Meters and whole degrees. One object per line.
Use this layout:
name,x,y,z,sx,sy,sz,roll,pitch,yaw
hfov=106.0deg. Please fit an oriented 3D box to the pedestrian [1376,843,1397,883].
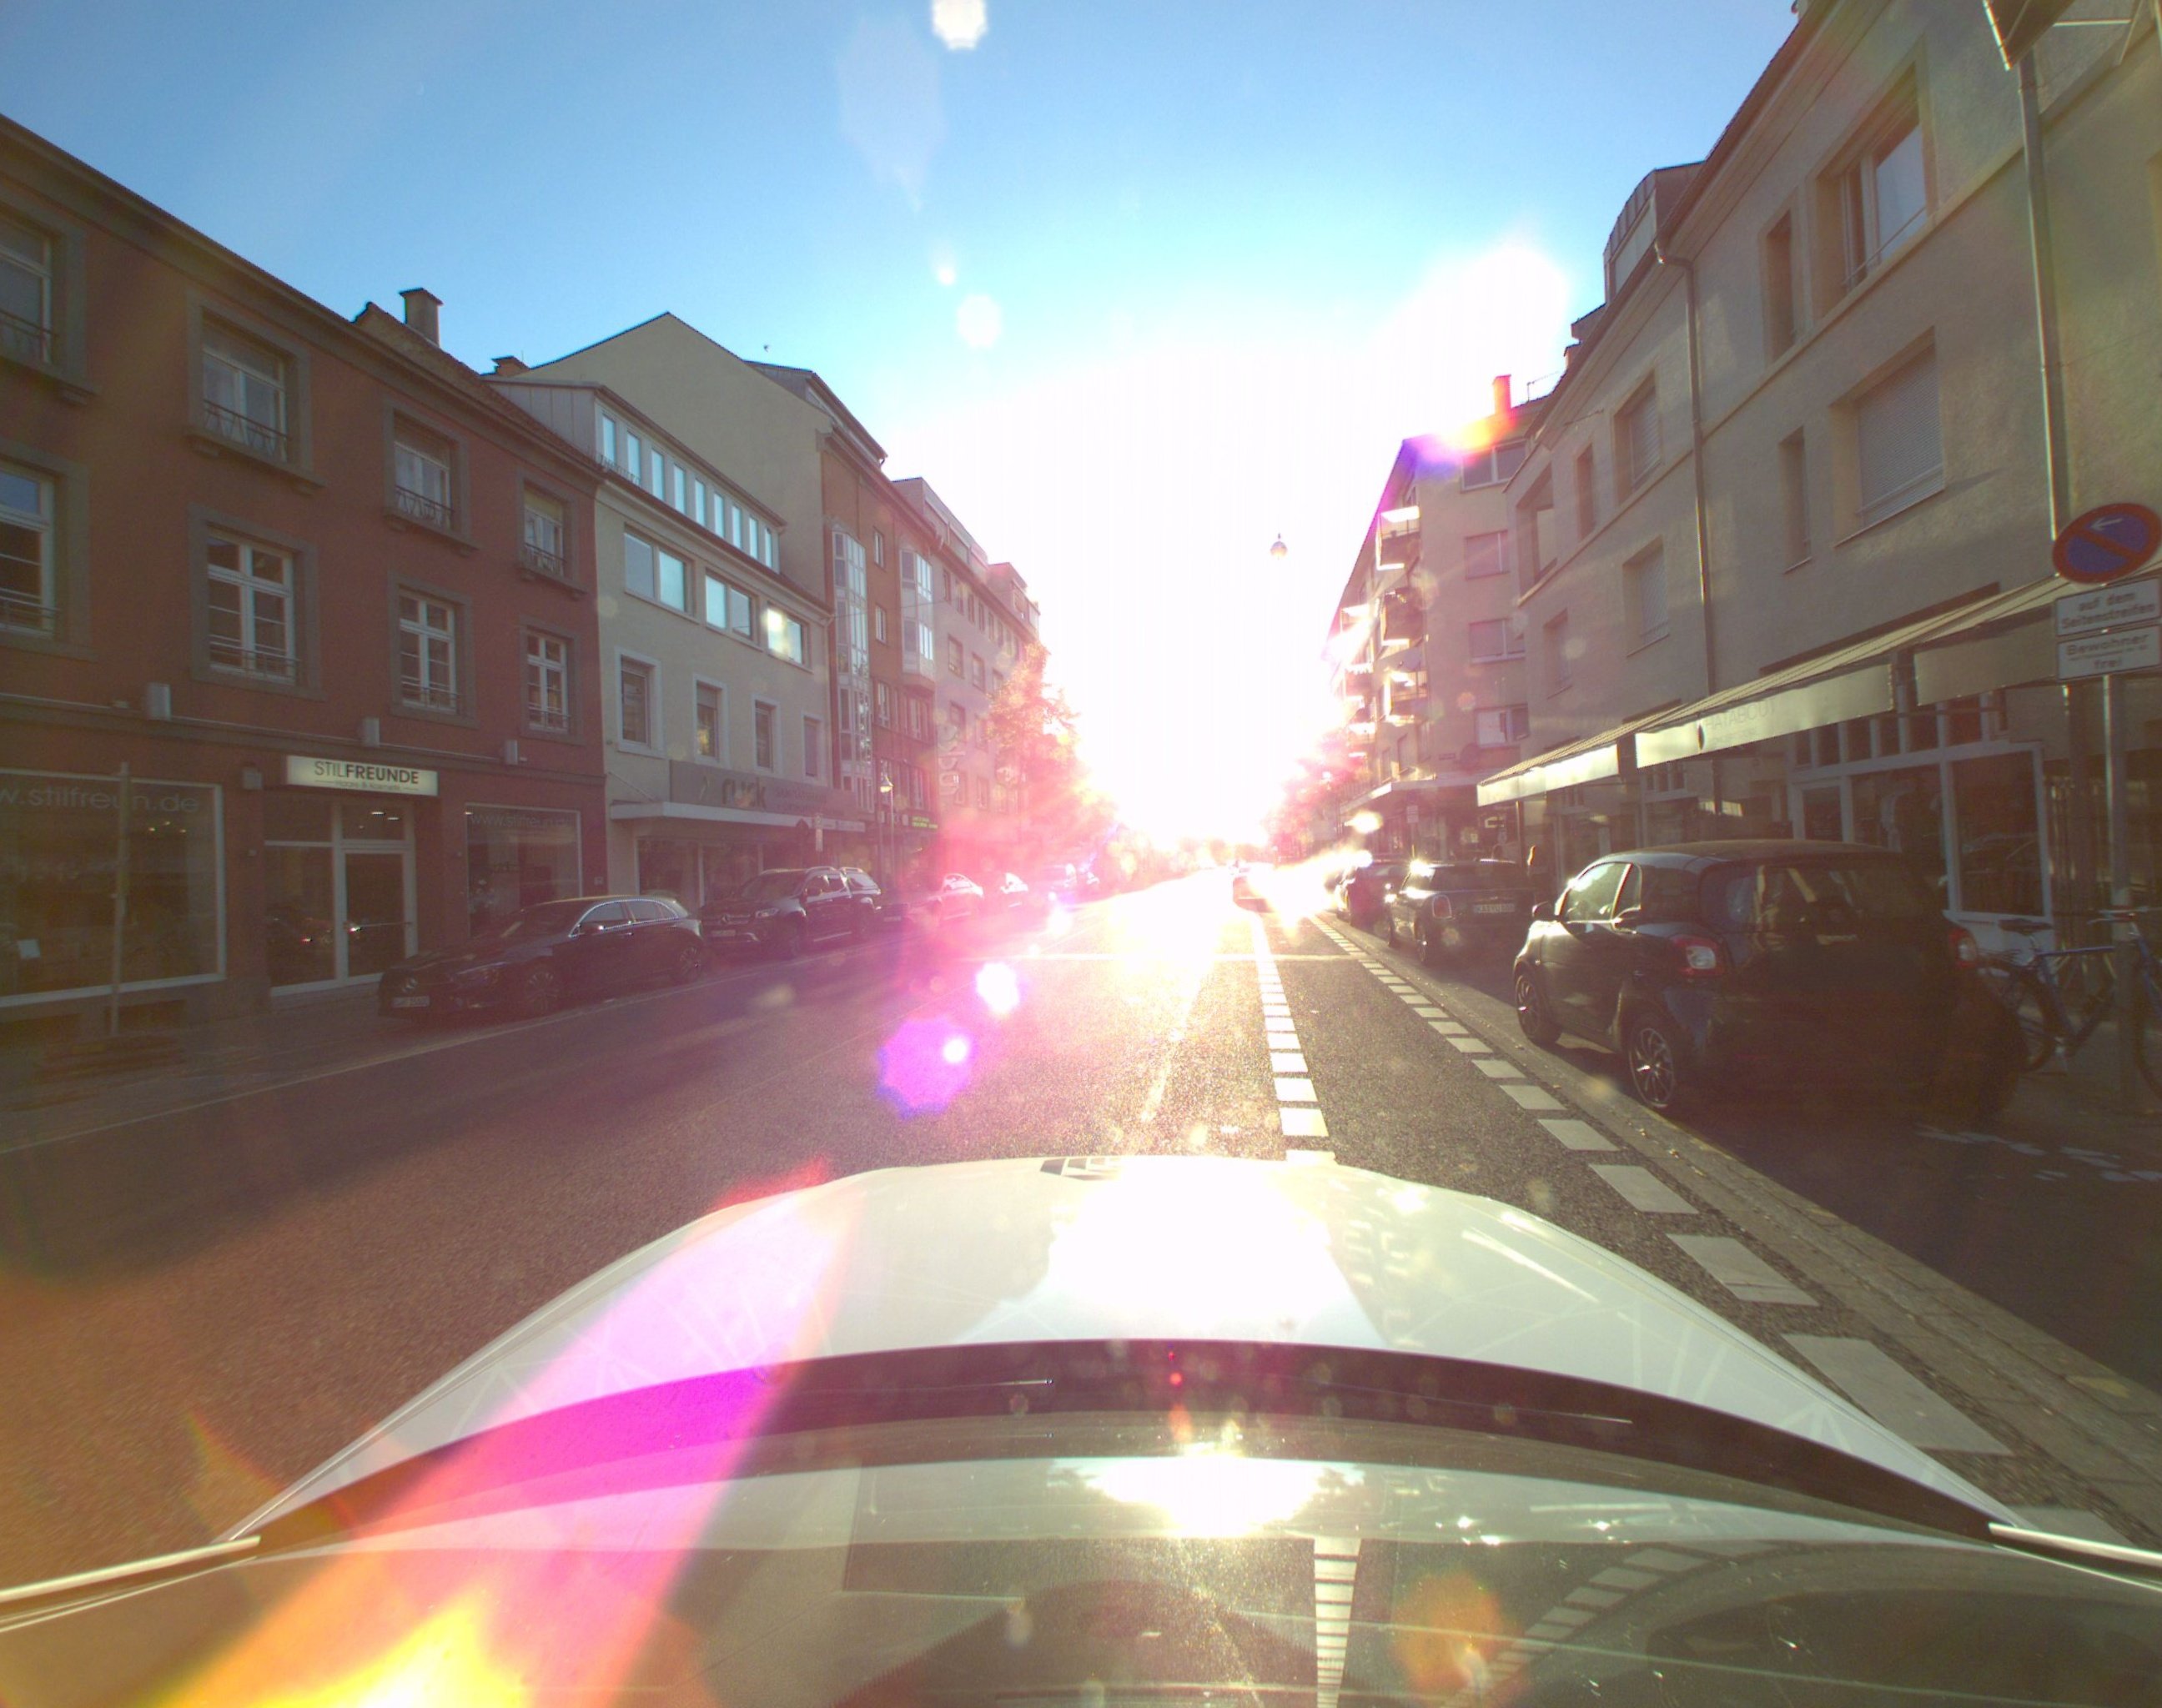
pedestrian,14.128,0.425,37.723,0.713,1.791,0.669,-3,-1,12

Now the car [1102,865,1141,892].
car,2.499,1.466,49.806,1.678,1.503,3.800,-3,-1,13

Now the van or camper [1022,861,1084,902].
van or camper,-1.258,1.282,39.206,1.775,1.774,4.574,-3,-1,13

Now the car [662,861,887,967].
car,-6.200,1.118,17.361,1.981,1.777,5.333,-4,-1,9

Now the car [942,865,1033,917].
car,-3.290,1.290,29.760,1.981,1.655,4.493,-3,-1,11

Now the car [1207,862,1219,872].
car,22.155,2.135,136.225,1.678,1.503,3.800,-3,-1,13

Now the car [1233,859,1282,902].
car,6.777,0.978,31.146,1.678,1.503,3.800,-1,0,13

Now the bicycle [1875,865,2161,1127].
bicycle,5.618,0.690,4.664,0.554,1.206,1.985,-3,-1,14

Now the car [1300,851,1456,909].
car,9.348,0.780,25.770,4.310,1.697,1.871,-1,0,-12

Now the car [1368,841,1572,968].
car,5.696,0.671,12.456,1.778,1.580,3.797,-3,-1,9

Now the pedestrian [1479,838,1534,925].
pedestrian,8.697,0.556,16.681,0.626,1.700,1.043,-3,-1,11

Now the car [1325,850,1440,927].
car,6.969,0.743,19.199,1.778,1.580,3.797,-3,-1,9

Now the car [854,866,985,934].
car,-4.579,1.260,23.896,1.980,1.655,4.643,-4,-1,12

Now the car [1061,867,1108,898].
car,0.240,1.523,44.807,1.678,1.503,3.800,-3,-1,13

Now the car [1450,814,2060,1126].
car,4.362,0.632,6.221,1.778,1.580,3.977,-3,-1,9

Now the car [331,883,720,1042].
car,-7.161,1.294,11.198,1.674,1.488,4.424,-5,-1,11

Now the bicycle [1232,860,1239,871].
bicycle,17.796,1.340,93.689,0.658,1.243,2.138,-1,0,14

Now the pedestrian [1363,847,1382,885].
pedestrian,14.073,0.581,39.336,0.713,1.791,0.669,-3,-1,12

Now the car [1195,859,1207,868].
car,20.168,1.600,136.900,1.678,1.503,3.800,-3,-1,13

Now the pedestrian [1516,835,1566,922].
pedestrian,9.298,0.490,16.471,0.556,1.700,0.834,-3,-1,11

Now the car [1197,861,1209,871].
car,21.063,2.070,140.998,1.678,1.503,3.800,-3,-1,13

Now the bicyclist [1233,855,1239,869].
bicyclist,17.837,0.919,93.688,0.543,1.581,0.806,-3,-1,14
